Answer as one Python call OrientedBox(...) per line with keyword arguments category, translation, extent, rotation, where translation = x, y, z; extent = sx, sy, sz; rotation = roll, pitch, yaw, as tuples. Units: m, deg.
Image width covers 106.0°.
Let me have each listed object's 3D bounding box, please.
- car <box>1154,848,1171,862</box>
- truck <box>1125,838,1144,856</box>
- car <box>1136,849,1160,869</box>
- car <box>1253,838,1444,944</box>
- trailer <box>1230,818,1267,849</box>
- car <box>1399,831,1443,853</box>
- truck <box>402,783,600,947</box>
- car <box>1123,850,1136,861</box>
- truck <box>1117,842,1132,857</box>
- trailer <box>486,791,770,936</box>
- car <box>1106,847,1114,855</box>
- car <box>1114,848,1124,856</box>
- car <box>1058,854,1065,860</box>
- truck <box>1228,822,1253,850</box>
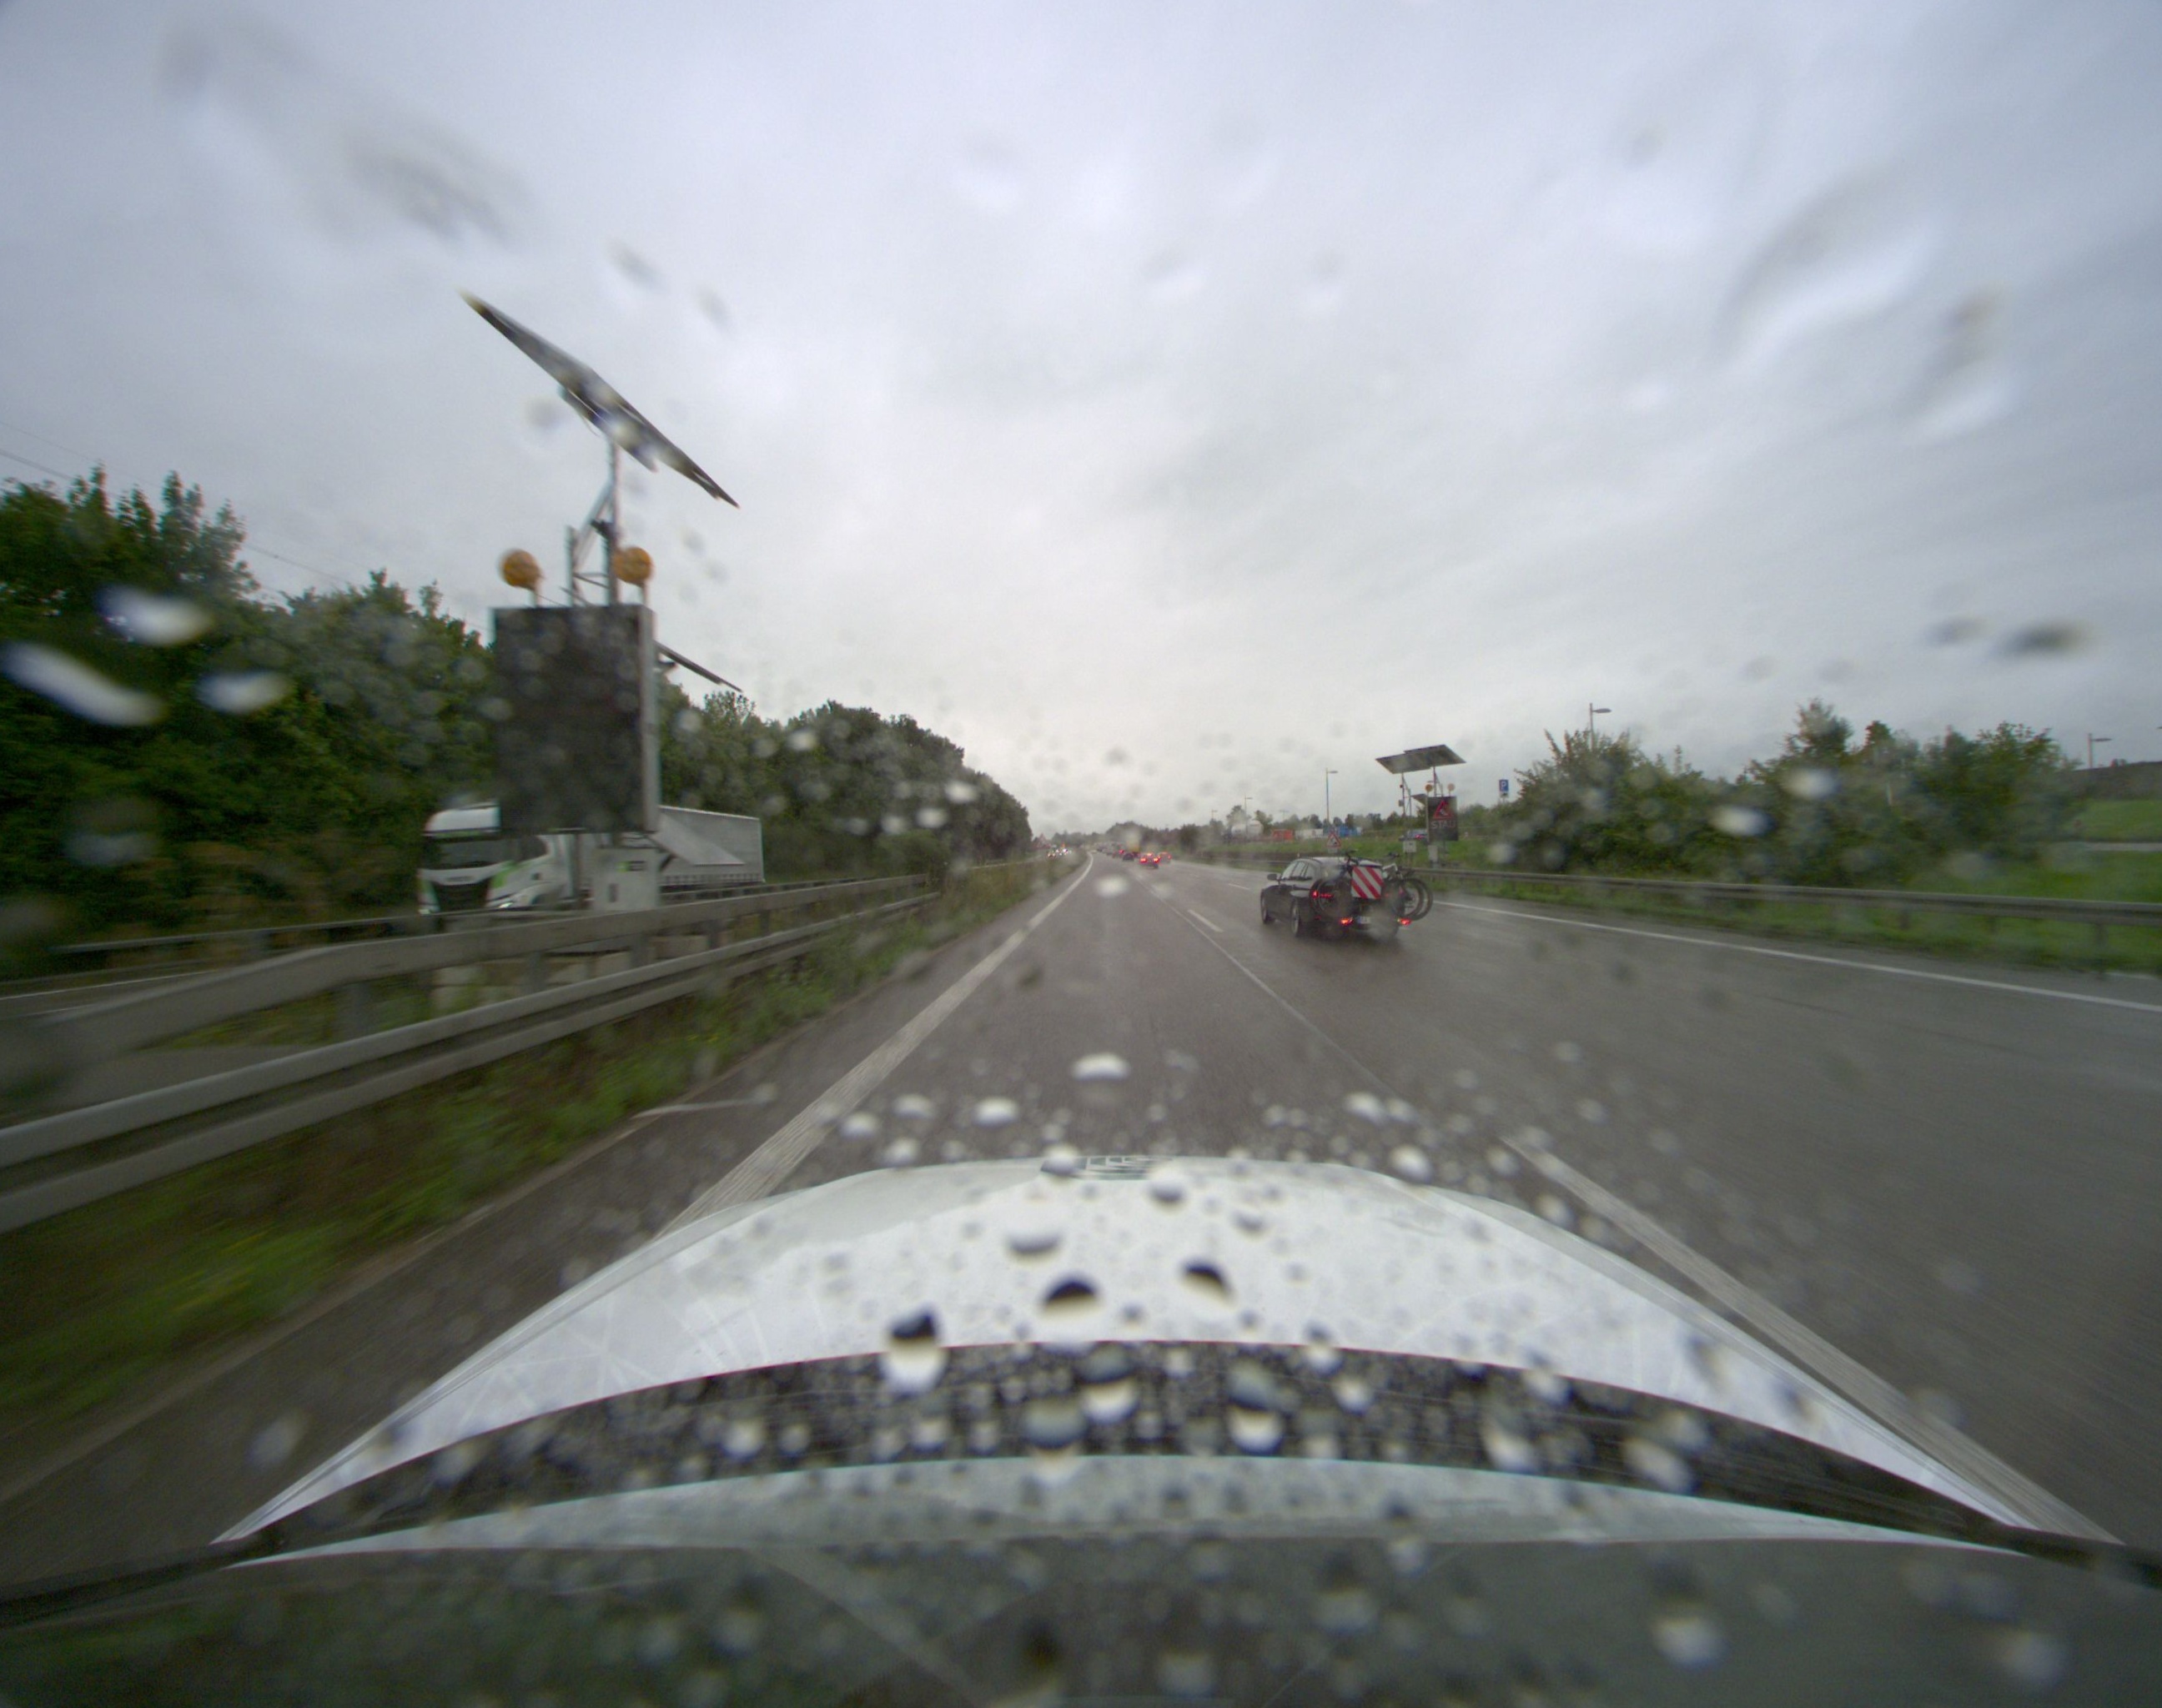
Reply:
OrientedBox(category="car", translation=(10.776, 0.142, 107.810), extent=(1.986, 1.761, 4.001), rotation=(-2, 0, 1))
OrientedBox(category="truck", translation=(12.588, -1.543, 193.916), extent=(3.910, 3.981, 12.243), rotation=(-2, 0, 2))
OrientedBox(category="car", translation=(6.383, 0.466, 78.257), extent=(1.986, 1.761, 4.001), rotation=(-2, 0, 1))
OrientedBox(category="car", translation=(4.833, 0.636, 15.707), extent=(2.050, 1.671, 5.524), rotation=(-1, -1, 2))
OrientedBox(category="trailer", translation=(24.462, -2.827, 119.458), extent=(2.974, 4.156, 12.960), rotation=(-2, 0, 1))
OrientedBox(category="car", translation=(27.973, -0.957, 67.165), extent=(1.784, 1.624, 3.995), rotation=(-2, 0, -3))
OrientedBox(category="truck", translation=(-16.519, 0.296, 23.517), extent=(2.633, 4.237, 4.002), rotation=(-2, 0, 2))
OrientedBox(category="car", translation=(7.905, 0.214, 132.949), extent=(1.986, 1.628, 4.001), rotation=(-2, 0, 1))
OrientedBox(category="truck", translation=(12.417, -1.265, 234.348), extent=(3.910, 3.981, 12.243), rotation=(-2, 0, 2))
OrientedBox(category="trailer", translation=(-16.242, 0.263, 31.373), extent=(2.633, 4.237, 13.917), rotation=(-2, 0, 2))
OrientedBox(category="car", translation=(8.157, -0.733, 228.714), extent=(1.986, 2.205, 4.001), rotation=(-2, 0, 1))
OrientedBox(category="car", translation=(8.065, -0.340, 172.511), extent=(1.986, 1.628, 4.001), rotation=(-2, 0, 1))
OrientedBox(category="car", translation=(-5.305, 0.800, 224.388), extent=(1.672, 1.397, 4.001), rotation=(-2, 0, 1))
OrientedBox(category="truck", translation=(24.669, -2.815, 126.356), extent=(2.938, 4.145, 4.924), rotation=(-2, 0, 2))
